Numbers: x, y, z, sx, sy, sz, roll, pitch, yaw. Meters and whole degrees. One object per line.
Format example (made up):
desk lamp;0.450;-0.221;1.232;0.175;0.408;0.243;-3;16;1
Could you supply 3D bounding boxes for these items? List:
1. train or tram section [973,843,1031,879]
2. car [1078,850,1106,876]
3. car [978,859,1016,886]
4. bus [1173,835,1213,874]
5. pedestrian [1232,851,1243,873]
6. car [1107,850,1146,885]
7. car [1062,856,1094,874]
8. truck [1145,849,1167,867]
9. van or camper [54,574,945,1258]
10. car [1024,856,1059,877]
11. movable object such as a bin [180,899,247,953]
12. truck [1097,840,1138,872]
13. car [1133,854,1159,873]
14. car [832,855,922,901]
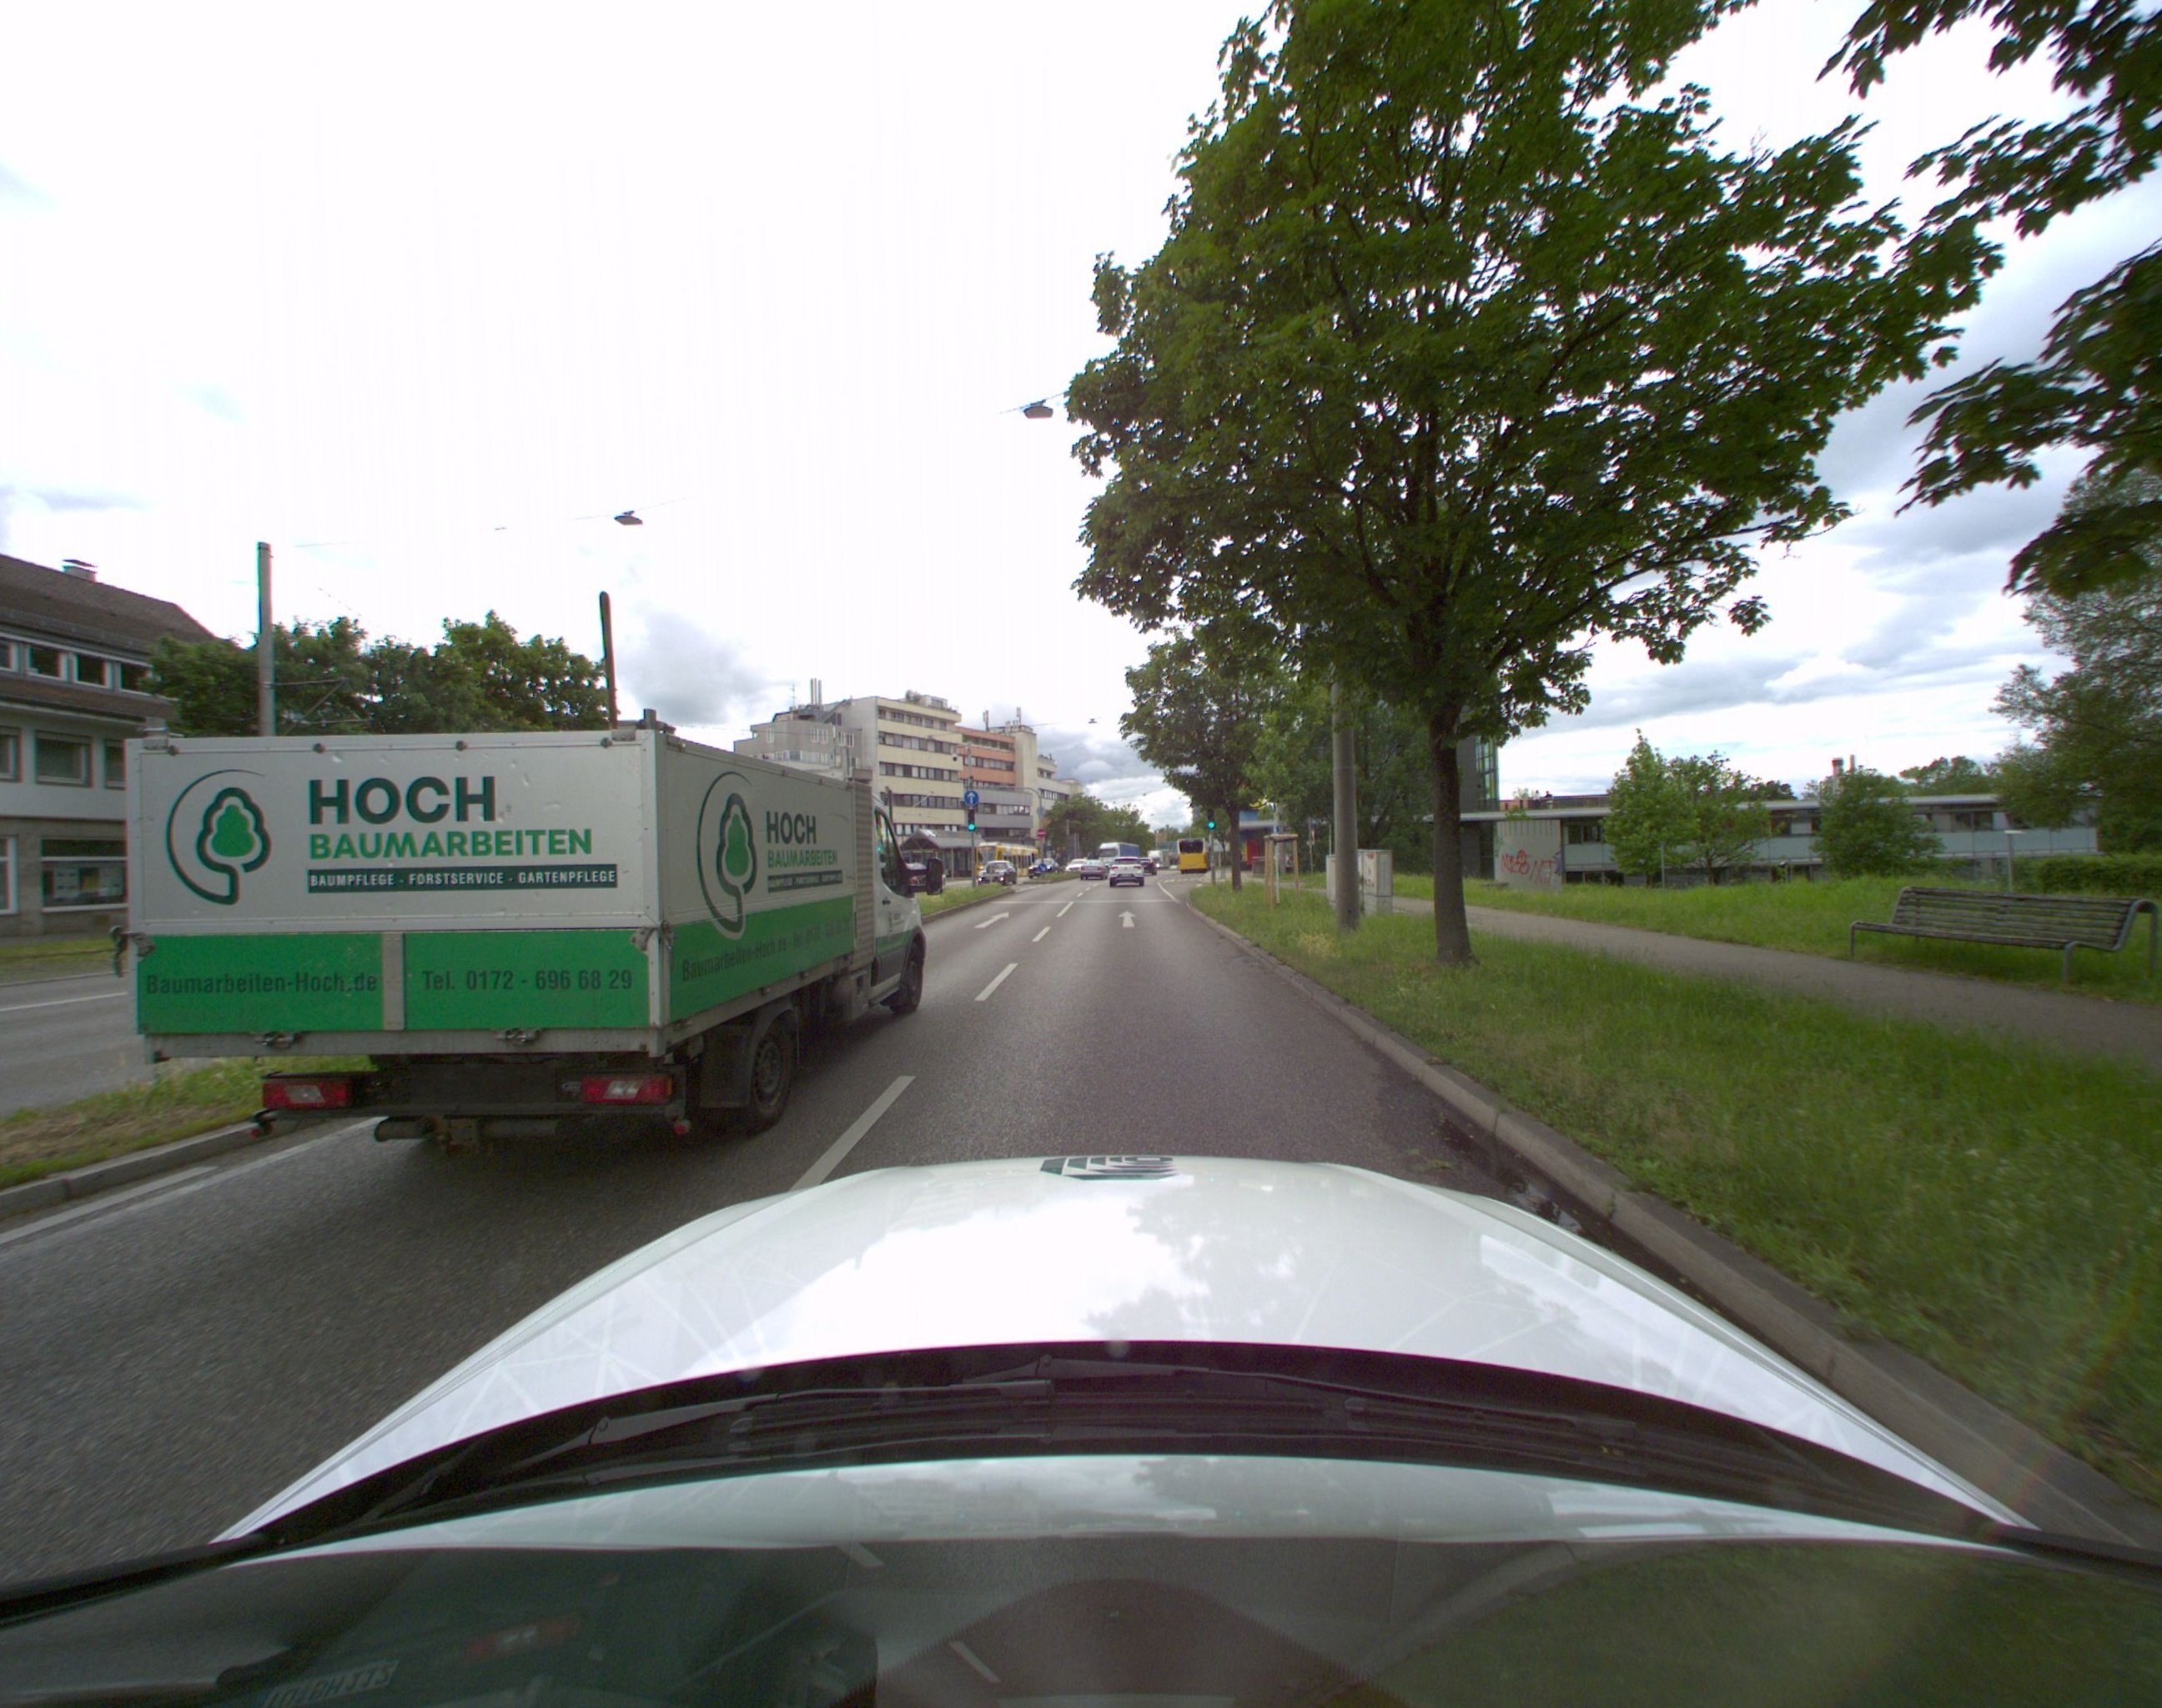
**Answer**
train or tram section;-8.135;0.708;86.499;2.543;3.411;13.119;-2;-1;10
car;0.803;0.628;57.028;1.692;1.515;3.742;-1;3;5
car;-4.900;1.066;47.823;1.607;1.446;3.655;-2;-1;3
bus;10.655;0.042;76.633;2.935;3.190;9.960;-4;-1;11
pedestrian;13.133;0.659;68.357;0.707;1.816;0.764;-2;-1;1
car;2.472;0.672;43.398;1.690;1.548;3.746;2;3;8
car;-0.244;1.015;76.839;1.952;1.499;4.791;-1;0;12
truck;13.216;0.690;142.680;3.064;3.028;9.384;-2;0;10
van or camper;-2.767;0.204;6.167;2.335;2.661;5.967;0;1;1
car;-3.063;0.990;64.454;1.887;1.618;4.285;-2;-1;8
movable object such as a bin;-17.755;1.464;16.678;0.692;1.042;0.595;-1;0;-5
truck;5.420;0.258;115.462;2.934;4.080;16.659;-1;0;13
car;5.639;0.782;70.629;1.688;1.516;3.506;-1;1;13
car;-7.620;0.848;30.992;1.985;1.590;4.838;0;0;3
